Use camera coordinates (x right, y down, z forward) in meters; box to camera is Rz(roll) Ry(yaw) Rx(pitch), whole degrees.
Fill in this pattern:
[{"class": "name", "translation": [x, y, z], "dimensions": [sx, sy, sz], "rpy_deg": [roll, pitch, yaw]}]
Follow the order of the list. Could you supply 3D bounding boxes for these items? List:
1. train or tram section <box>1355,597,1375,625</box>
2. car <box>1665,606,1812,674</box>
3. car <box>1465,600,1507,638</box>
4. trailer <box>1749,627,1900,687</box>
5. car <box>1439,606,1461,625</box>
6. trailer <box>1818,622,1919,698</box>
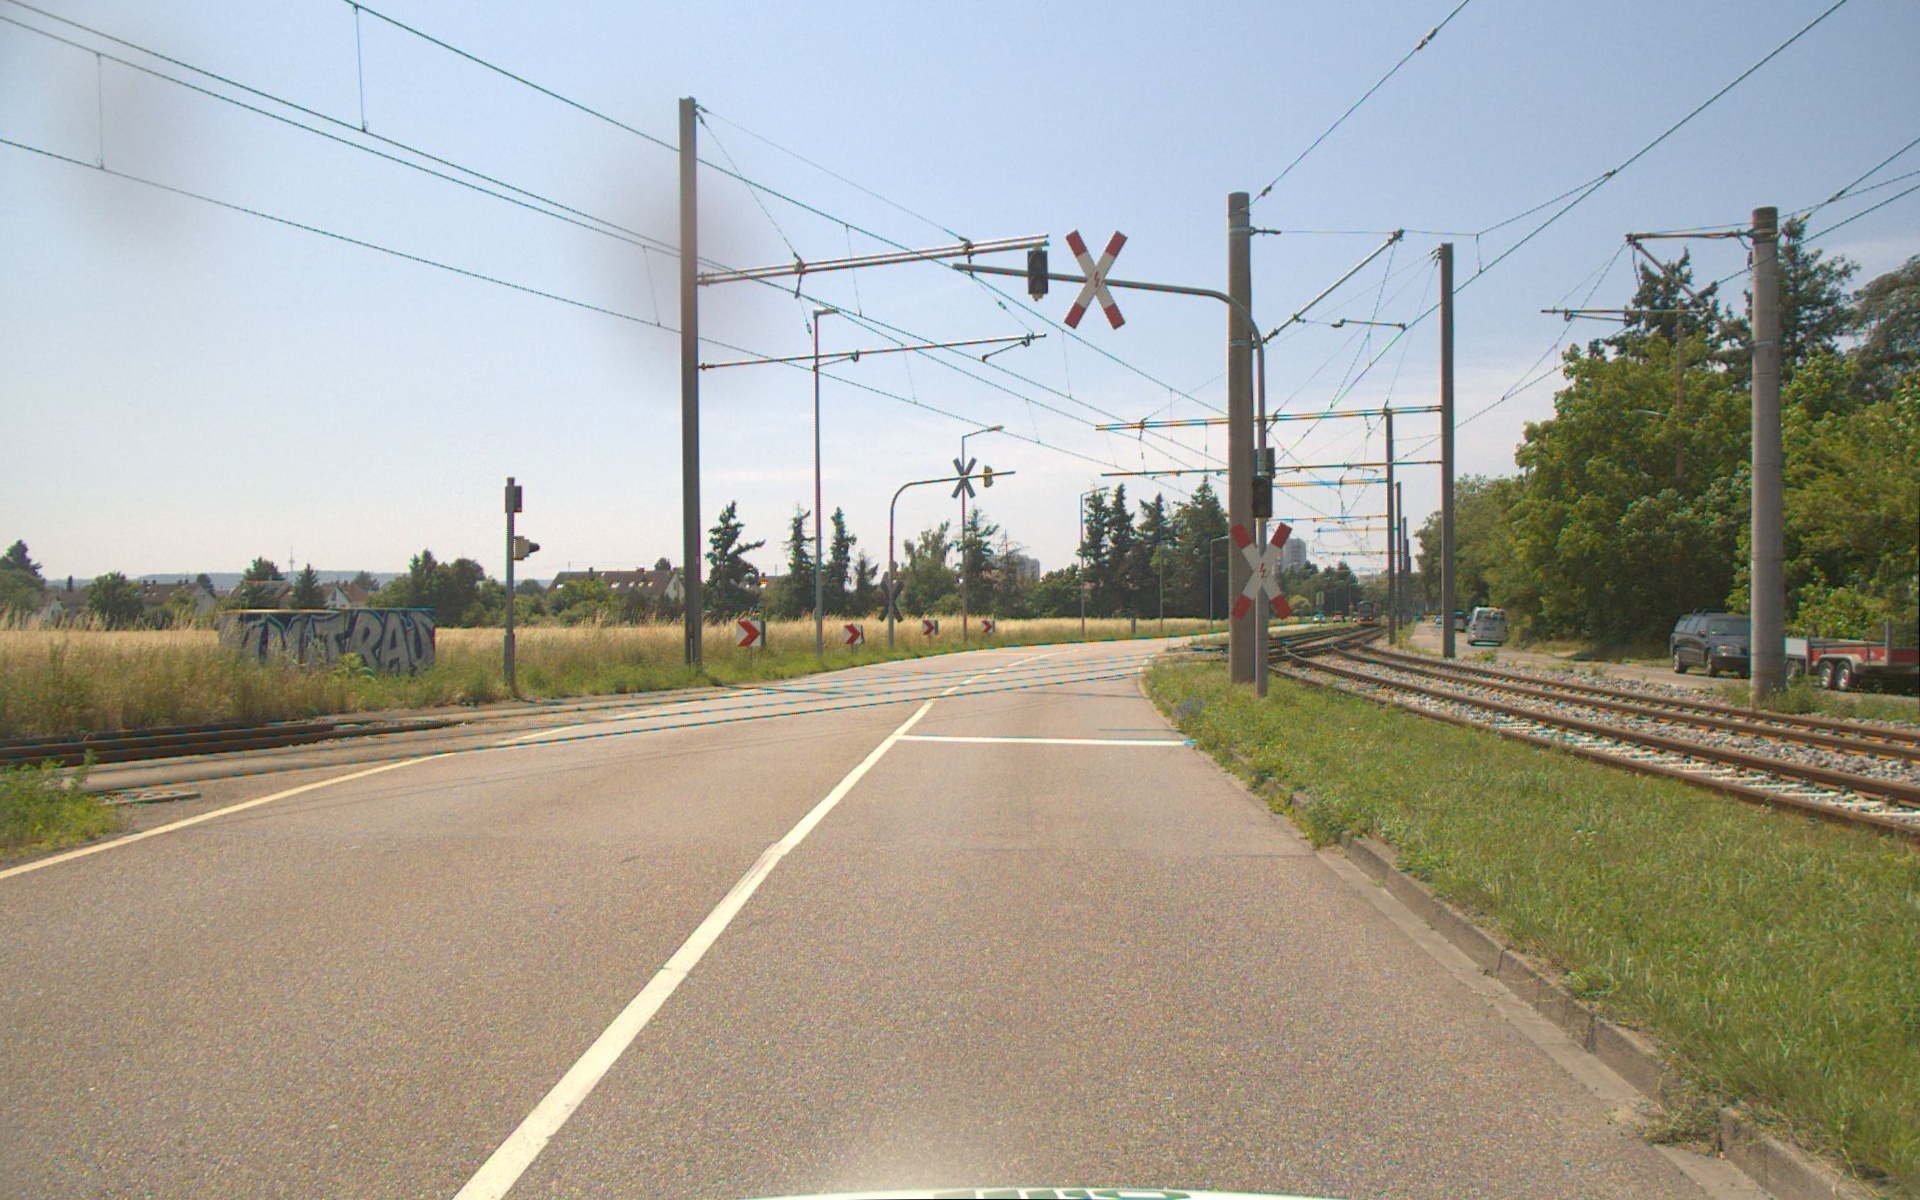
[{"class": "train or tram section", "translation": [57.964, 1.628, 236.589], "dimensions": [2.377, 3.832, 11.566], "rpy_deg": [-1, -2, 15]}, {"class": "car", "translation": [18.056, 0.940, 38.598], "dimensions": [1.758, 1.451, 4.743], "rpy_deg": [-1, -2, 8]}, {"class": "car", "translation": [27.664, 1.030, 87.024], "dimensions": [1.993, 1.915, 5.070], "rpy_deg": [-1, -2, 18]}, {"class": "trailer", "translation": [17.227, 1.108, 33.139], "dimensions": [1.389, 1.012, 4.003], "rpy_deg": [2, 0, 8]}, {"class": "car", "translation": [47.946, 1.534, 161.958], "dimensions": [1.951, 1.834, 4.797], "rpy_deg": [-1, -2, 15]}, {"class": "trailer", "translation": [16.650, 1.029, 29.159], "dimensions": [1.430, 1.244, 4.003], "rpy_deg": [-1, -2, 8]}]
